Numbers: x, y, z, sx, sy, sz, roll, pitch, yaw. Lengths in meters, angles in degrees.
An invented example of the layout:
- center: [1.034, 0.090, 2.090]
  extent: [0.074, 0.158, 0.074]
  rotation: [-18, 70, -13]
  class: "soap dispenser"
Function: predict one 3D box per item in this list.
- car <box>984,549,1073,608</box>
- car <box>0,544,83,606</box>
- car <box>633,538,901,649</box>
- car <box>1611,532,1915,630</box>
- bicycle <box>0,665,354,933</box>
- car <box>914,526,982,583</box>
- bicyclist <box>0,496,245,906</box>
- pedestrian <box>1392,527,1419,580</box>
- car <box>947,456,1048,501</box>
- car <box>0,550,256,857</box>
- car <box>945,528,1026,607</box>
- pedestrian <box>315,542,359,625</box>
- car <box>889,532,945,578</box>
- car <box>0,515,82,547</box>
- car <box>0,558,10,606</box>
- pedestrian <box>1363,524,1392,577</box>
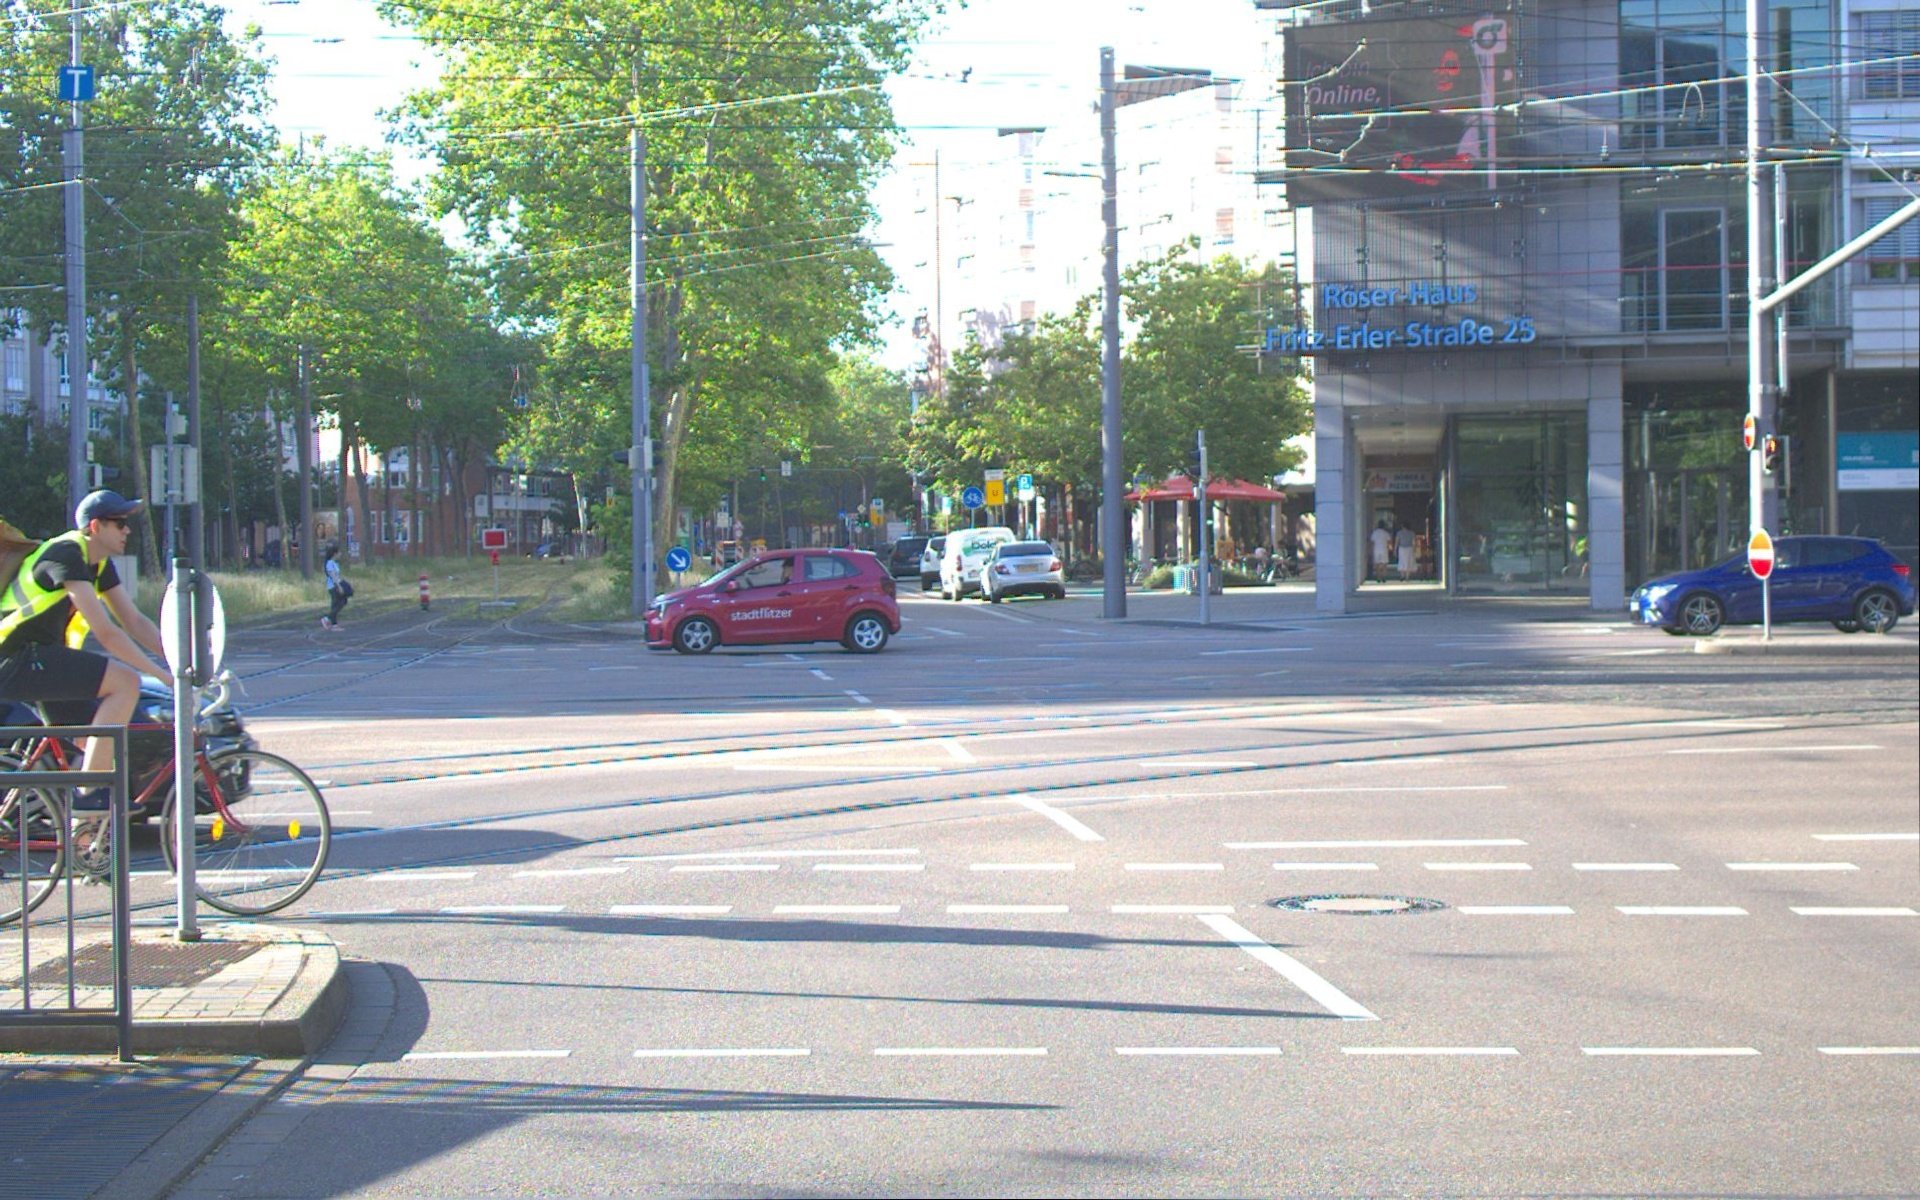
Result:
- center: [1.629, -0.536, 82.864]
  extent: [1.993, 1.327, 4.000]
  rotation: [-1, 1, -1]
  class: "car"
- center: [-23.547, -0.650, 87.126]
  extent: [1.993, 1.503, 4.001]
  rotation: [-1, 1, -6]
  class: "car"
- center: [-2.748, -0.109, 48.600]
  extent: [3.595, 1.461, 1.796]
  rotation: [-1, 1, -9]
  class: "car"
- center: [11.731, -0.297, 50.413]
  extent: [3.987, 1.343, 1.976]
  rotation: [-1, 1, 0]
  class: "car"
- center: [-3.533, 0.811, 14.238]
  extent: [1.923, 1.060, 0.629]
  rotation: [0, 1, 2]
  class: "bicycle"
- center: [-0.385, -1.398, 105.010]
  extent: [1.993, 1.656, 4.000]
  rotation: [-1, 1, -1]
  class: "car"
- center: [-3.495, 0.403, 14.233]
  extent: [0.904, 1.658, 0.639]
  rotation: [0, 1, 2]
  class: "bicyclist"
- center: [12.243, -1.278, 94.434]
  extent: [0.706, 1.460, 0.384]
  rotation: [-1, 1, 9]
  class: "pedestrian"
- center: [1.529, -4.958, 140.366]
  extent: [3.764, 1.744, 1.780]
  rotation: [1, 0, 14]
  class: "car"
- center: [-6.087, 0.526, 18.333]
  extent: [4.383, 1.512, 2.001]
  rotation: [-1, 2, -6]
  class: "car"
- center: [0.640, -0.873, 89.699]
  extent: [1.993, 1.985, 4.000]
  rotation: [-1, 1, -1]
  class: "car"
- center: [-11.462, -0.309, 63.270]
  extent: [0.754, 1.525, 0.508]
  rotation: [0, 1, -7]
  class: "pedestrian"
- center: [-1.595, -1.666, 126.784]
  extent: [1.993, 1.656, 4.000]
  rotation: [-1, 1, -1]
  class: "car"
- center: [-46.634, -3.467, 173.818]
  extent: [3.987, 1.547, 1.607]
  rotation: [1, 1, -31]
  class: "car"
- center: [-31.478, -0.593, 109.776]
  extent: [1.906, 1.505, 4.001]
  rotation: [1, 1, -12]
  class: "car"
- center: [11.505, -1.361, 94.692]
  extent: [0.739, 1.460, 0.536]
  rotation: [-1, 1, 9]
  class: "pedestrian"
